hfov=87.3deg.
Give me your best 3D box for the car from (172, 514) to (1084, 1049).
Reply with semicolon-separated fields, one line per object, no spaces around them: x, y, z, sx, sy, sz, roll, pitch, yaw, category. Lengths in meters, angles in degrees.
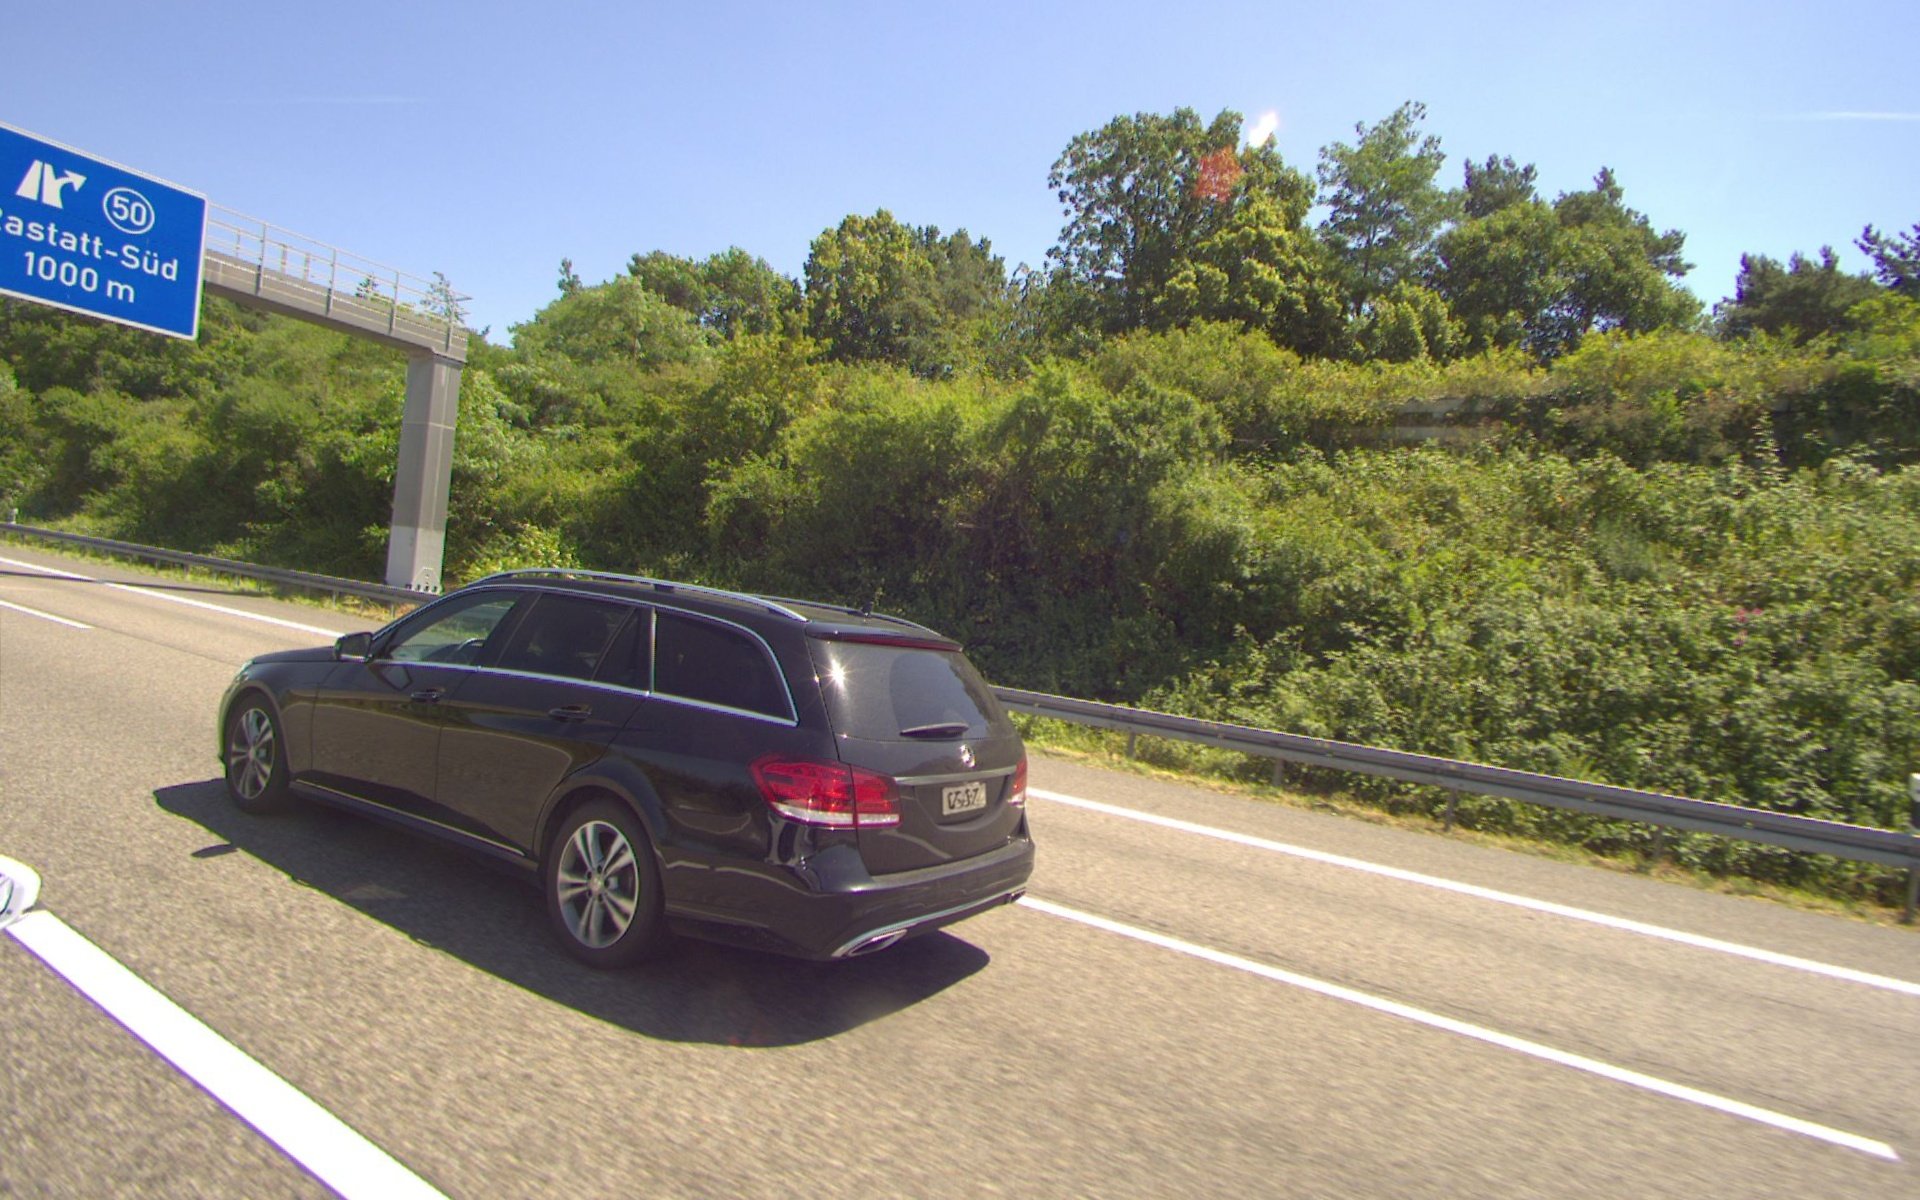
-1.933;0.552;5.239;4.660;1.523;1.844;6;-1;32;car
